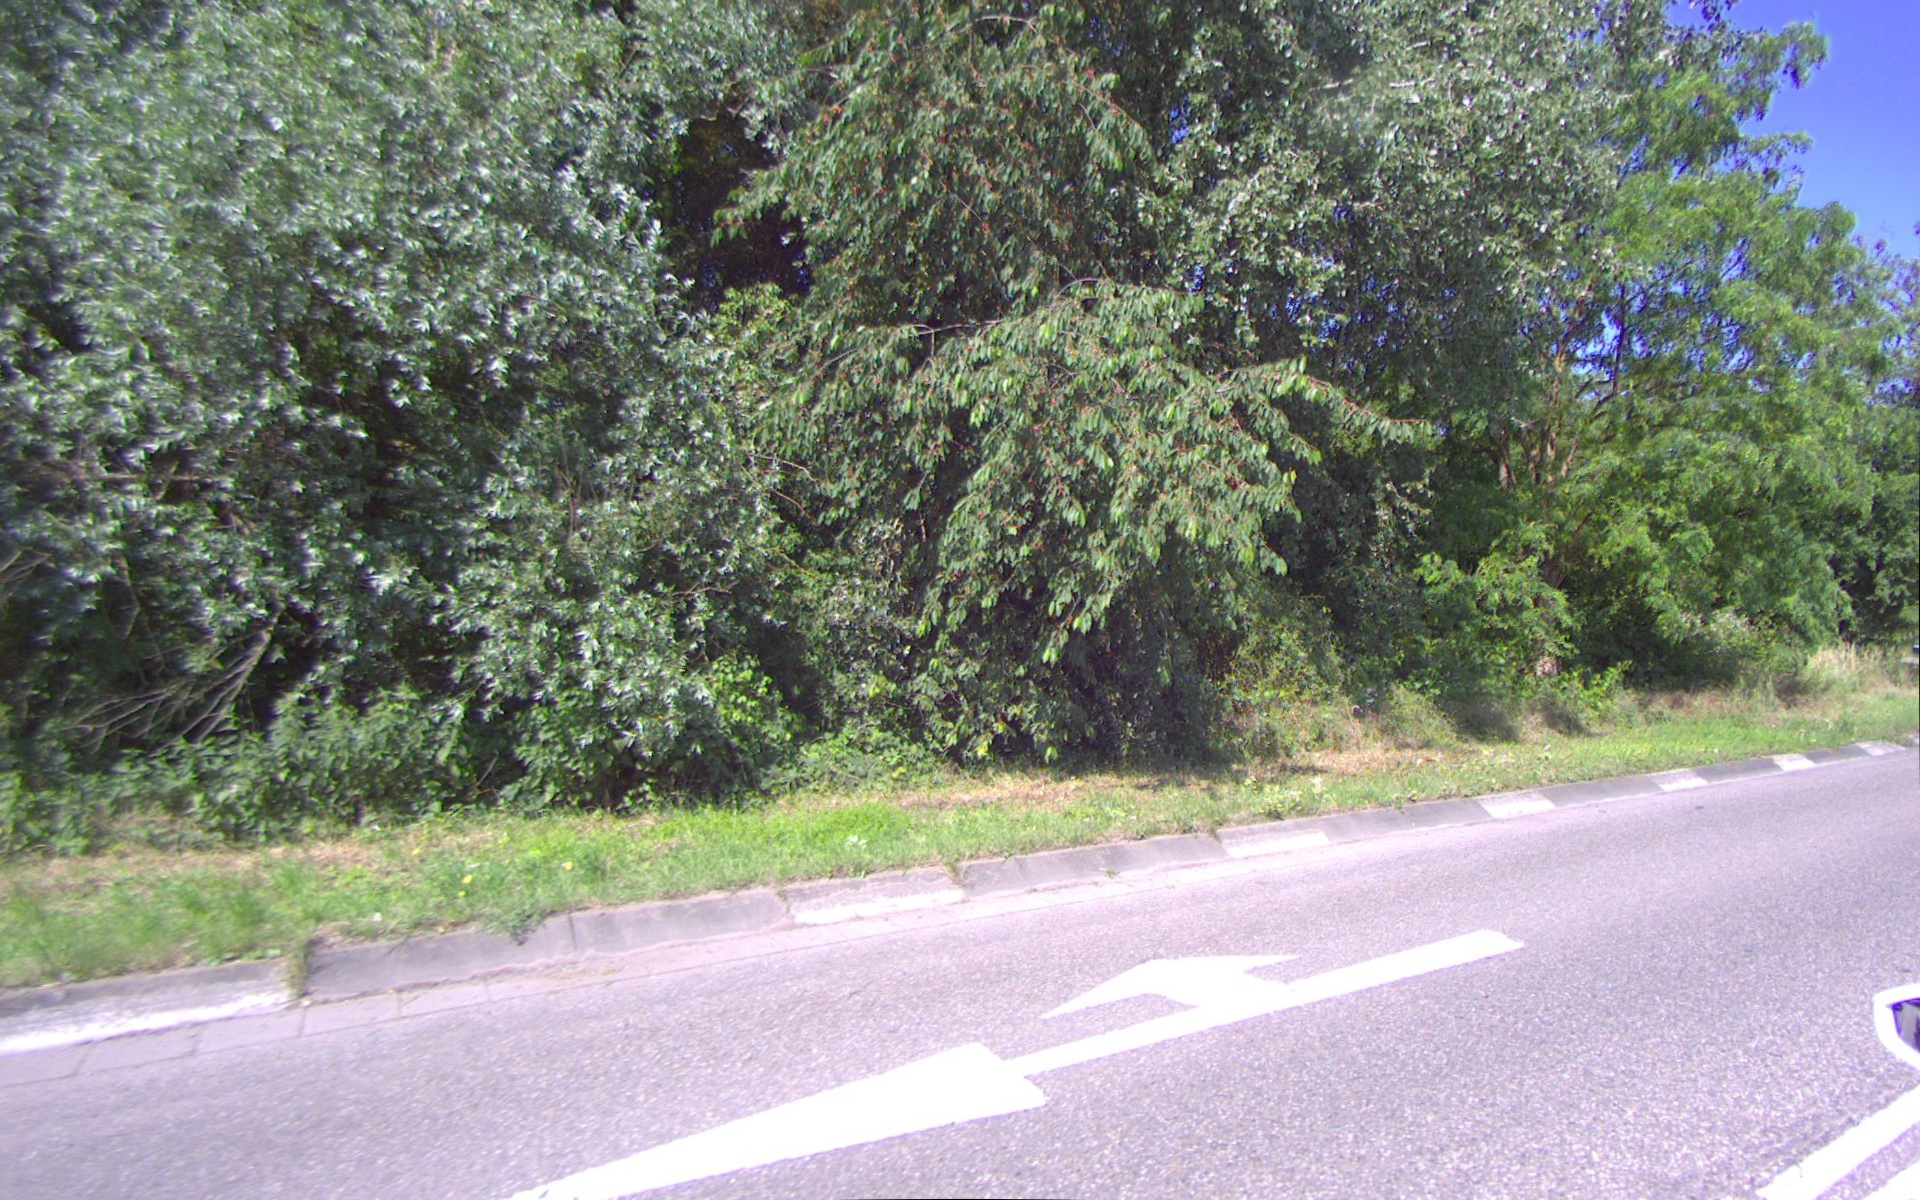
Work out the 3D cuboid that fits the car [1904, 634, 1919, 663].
[{"bbox_3d":[49.677,2.407,50.548,4.367,1.405,1.826,0,-2,-27],"label":"car"}]
